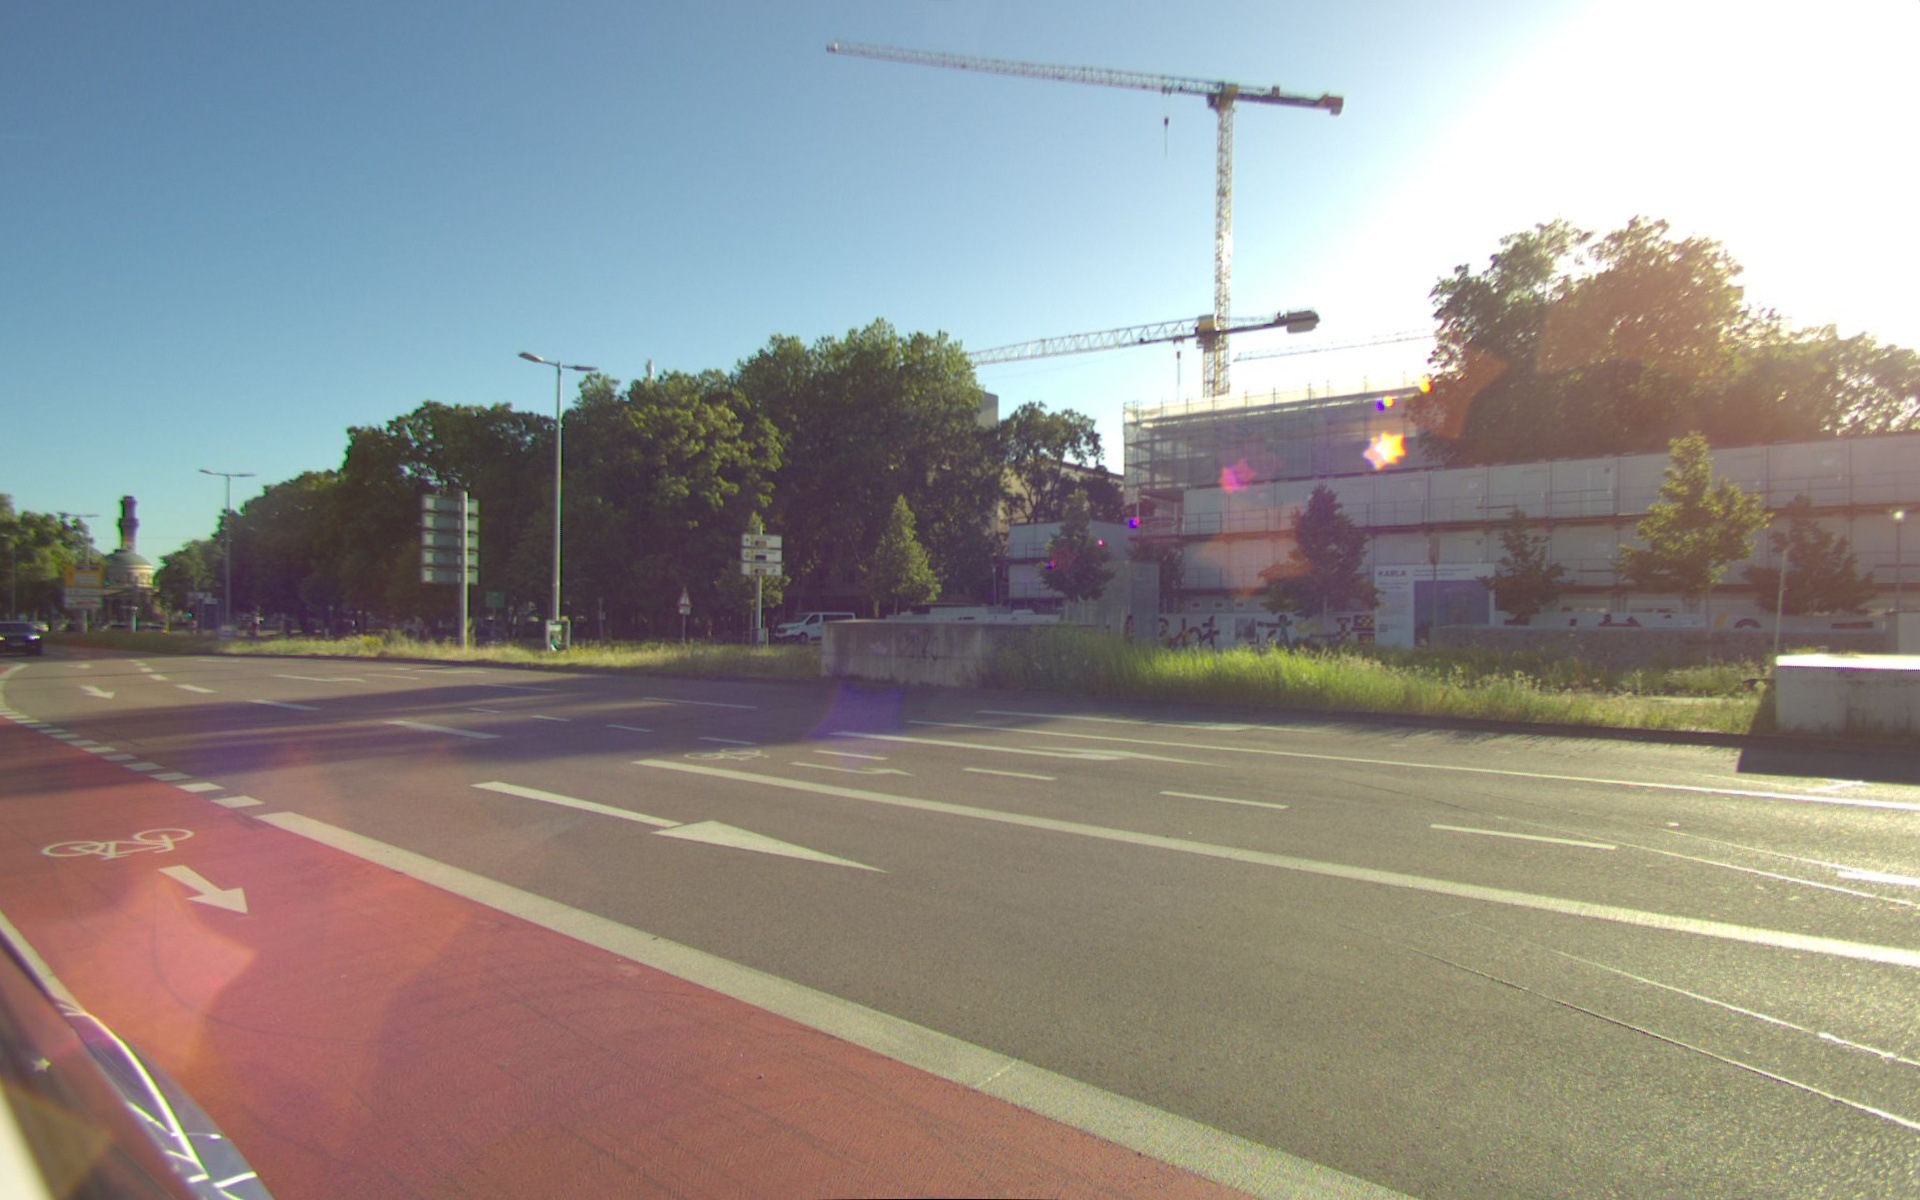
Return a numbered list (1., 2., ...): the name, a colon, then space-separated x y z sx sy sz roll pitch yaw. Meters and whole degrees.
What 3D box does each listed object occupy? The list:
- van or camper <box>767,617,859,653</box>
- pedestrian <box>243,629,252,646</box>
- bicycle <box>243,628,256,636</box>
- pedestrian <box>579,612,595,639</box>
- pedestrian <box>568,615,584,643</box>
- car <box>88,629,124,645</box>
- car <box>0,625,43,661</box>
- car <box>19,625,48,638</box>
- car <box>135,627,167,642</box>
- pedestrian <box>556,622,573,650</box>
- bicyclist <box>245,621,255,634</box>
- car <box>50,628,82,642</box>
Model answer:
1. van or camper: -8.936 2.095 61.951 1.948 2.029 5.576 -1 0 42
2. pedestrian: -75.082 3.950 106.637 0.618 1.862 0.926 1 -2 -42
3. bicycle: -70.797 3.180 100.881 1.744 0.849 0.602 -1 -2 40
4. pedestrian: -23.665 1.612 64.225 0.762 1.738 0.698 -1 -2 41
5. pedestrian: -24.238 1.846 63.860 0.762 1.738 0.656 -2 -2 41
6. car: -79.106 3.420 93.780 3.996 1.409 1.849 -1 -2 40
7. car: -46.116 2.041 49.014 4.612 1.656 1.913 -1 -1 40
8. car: -106.341 3.617 116.098 3.995 1.409 1.849 -1 -2 39
9. car: -84.287 3.577 105.452 4.000 1.519 1.972 -1 -2 43
10. pedestrian: -24.842 2.245 63.547 0.762 1.738 0.698 -1 -2 41
11. bicyclist: -70.795 2.759 100.892 0.714 1.291 0.603 -1 -2 40
12. car: -91.661 3.566 103.765 3.995 1.409 1.849 -1 -2 39
